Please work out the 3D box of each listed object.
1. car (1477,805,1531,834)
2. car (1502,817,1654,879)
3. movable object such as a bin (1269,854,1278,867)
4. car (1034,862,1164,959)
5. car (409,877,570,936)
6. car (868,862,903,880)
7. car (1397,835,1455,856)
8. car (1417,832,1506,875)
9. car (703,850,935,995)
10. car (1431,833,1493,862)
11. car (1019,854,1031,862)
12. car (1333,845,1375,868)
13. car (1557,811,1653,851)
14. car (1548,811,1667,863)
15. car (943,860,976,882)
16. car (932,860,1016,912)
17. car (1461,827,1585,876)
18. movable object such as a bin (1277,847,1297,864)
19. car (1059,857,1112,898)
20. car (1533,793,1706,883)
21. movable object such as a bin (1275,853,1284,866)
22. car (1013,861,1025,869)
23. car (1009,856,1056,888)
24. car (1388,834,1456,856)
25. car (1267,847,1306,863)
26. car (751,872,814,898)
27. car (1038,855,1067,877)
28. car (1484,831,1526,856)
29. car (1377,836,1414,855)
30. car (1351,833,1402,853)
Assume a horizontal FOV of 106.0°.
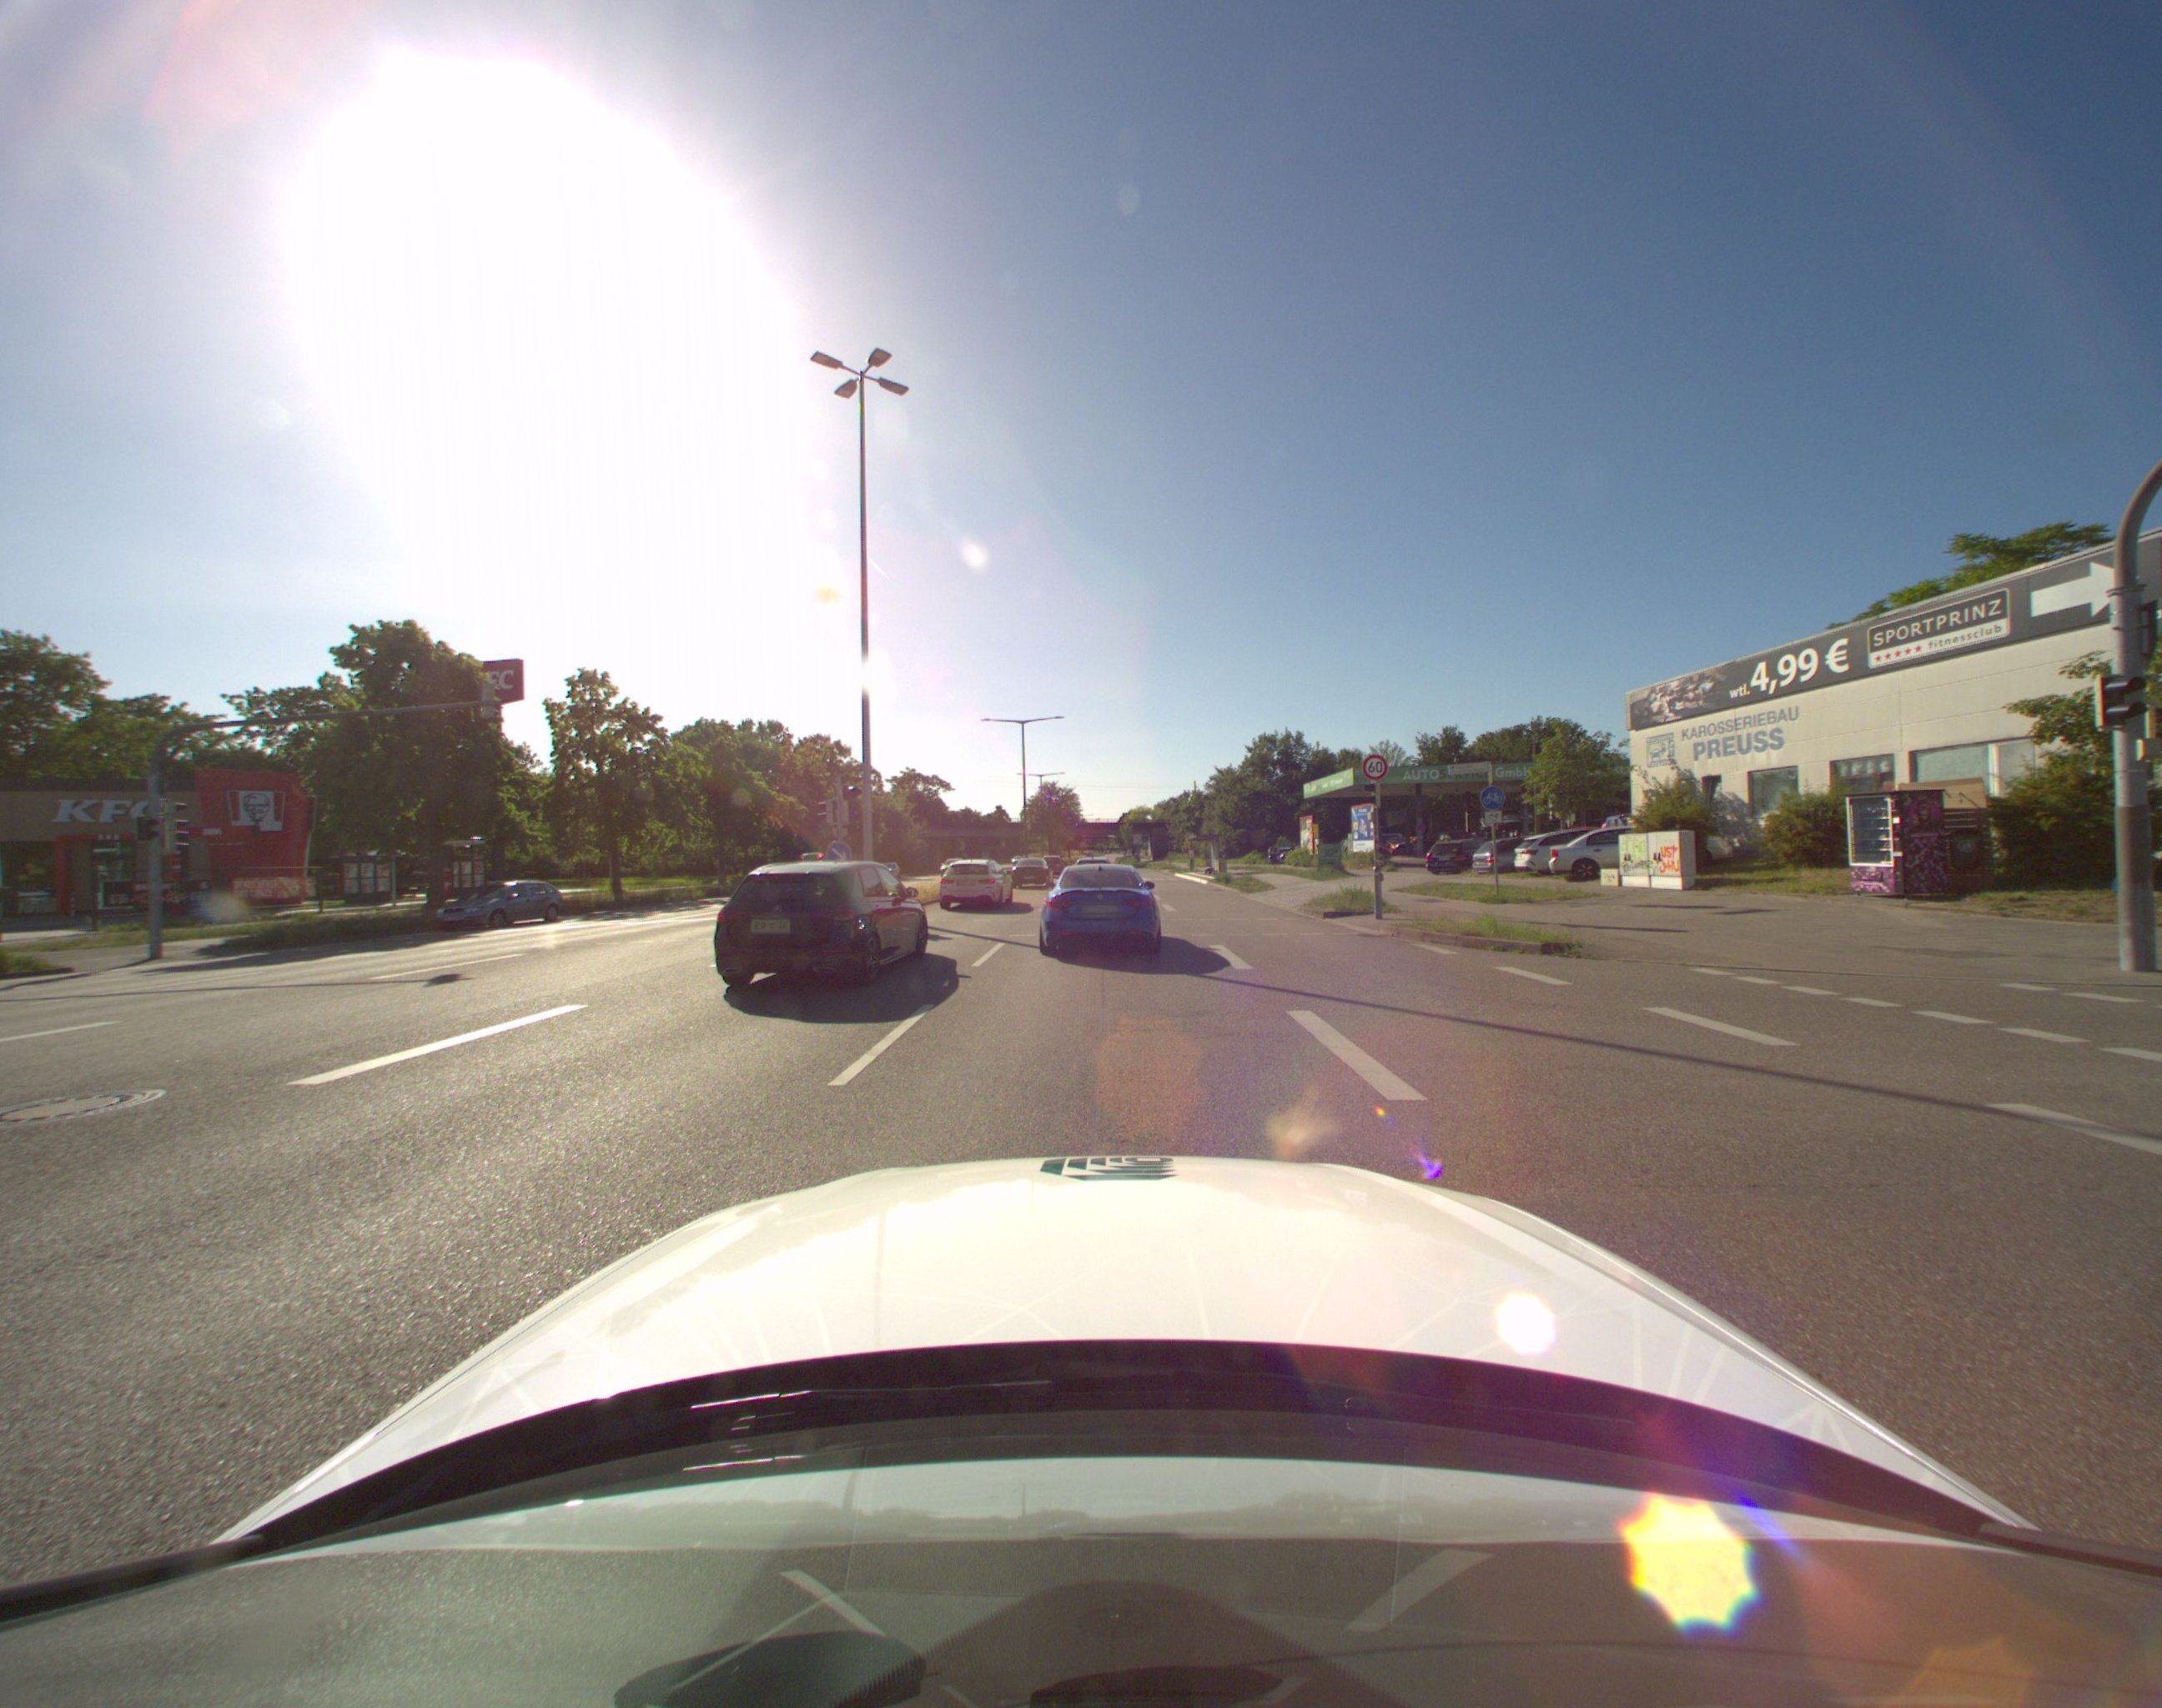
[{"bbox_3d":[29.235,-2.363,56.411,1.911,1.755,3.780,-3,-1,3],"label":"car"},{"bbox_3d":[16.703,-0.181,27.573,3.892,1.452,1.731,-9,-1,12],"label":"car"},{"bbox_3d":[16.995,0.561,71.838,0.585,1.074,0.504,-1,0,-40],"label":"movable object such as a bin"},{"bbox_3d":[0.323,0.838,13.964,1.876,1.406,4.225,0,0,2],"label":"car"},{"bbox_3d":[-18.826,1.616,26.200,1.986,1.525,4.197,-2,0,1],"label":"car"},{"bbox_3d":[-17.316,1.459,72.338,1.986,1.474,4.197,-2,-1,1],"label":"car"},{"bbox_3d":[28.167,-0.687,66.587,3.977,1.517,1.696,-2,-1,-3],"label":"car"},{"bbox_3d":[16.529,-0.048,35.222,1.877,1.531,4.865,-5,0,45],"label":"car"},{"bbox_3d":[-3.292,0.777,11.168,1.701,1.598,4.225,0,0,2],"label":"car"},{"bbox_3d":[23.170,-0.360,49.639,1.986,1.647,4.001,0,-1,2],"label":"car"},{"bbox_3d":[-10.853,0.853,158.438,1.811,1.435,4.632,-4,-1,1],"label":"car"},{"bbox_3d":[19.632,0.186,58.678,1.737,1.573,4.251,-2,0,3],"label":"car"},{"bbox_3d":[27.758,-1.204,43.222,3.752,1.548,1.849,-7,-3,0],"label":"car"},{"bbox_3d":[21.238,-0.631,33.105,1.678,1.783,4.594,-5,-1,-1],"label":"car"},{"bbox_3d":[-10.007,1.374,67.267,1.867,1.642,4.172,-3,-1,2],"label":"car"},{"bbox_3d":[-3.206,0.919,25.331,1.876,1.454,4.527,0,0,2],"label":"car"},{"bbox_3d":[16.628,-0.080,30.776,3.592,1.290,1.842,-9,-1,2],"label":"car"},{"bbox_3d":[17.896,0.148,70.741,0.994,1.428,1.245,-1,0,-41],"label":"movable object such as a bin"},{"bbox_3d":[0.236,0.864,31.342,1.876,1.454,4.527,0,0,2],"label":"car"},{"bbox_3d":[15.967,-0.465,24.326,3.948,2.013,1.697,-9,-1,34],"label":"car"},{"bbox_3d":[17.393,0.519,71.472,0.585,1.121,0.504,-1,-1,-40],"label":"movable object such as a bin"},{"bbox_3d":[-11.289,1.974,147.865,1.635,1.451,4.112,-4,-1,1],"label":"car"},{"bbox_3d":[-2.262,0.850,39.439,1.876,1.454,4.527,0,0,2],"label":"car"},{"bbox_3d":[23.932,-0.590,57.207,2.008,1.486,3.957,0,-1,-35],"label":"car"},{"bbox_3d":[19.338,0.109,76.585,3.270,1.486,1.773,0,-1,3],"label":"car"},{"bbox_3d":[-18.018,1.833,49.402,1.986,1.376,4.624,-2,-1,2],"label":"car"},{"bbox_3d":[-2.031,0.870,58.774,1.773,1.454,4.183,-2,0,2],"label":"car"},{"bbox_3d":[25.256,-0.655,48.486,1.671,1.421,3.727,-1,1,36],"label":"car"},{"bbox_3d":[27.088,-0.712,70.224,1.707,1.607,4.137,0,0,2],"label":"car"},{"bbox_3d":[27.087,-1.005,74.731,4.021,1.531,1.735,-4,-1,3],"label":"car"}]
